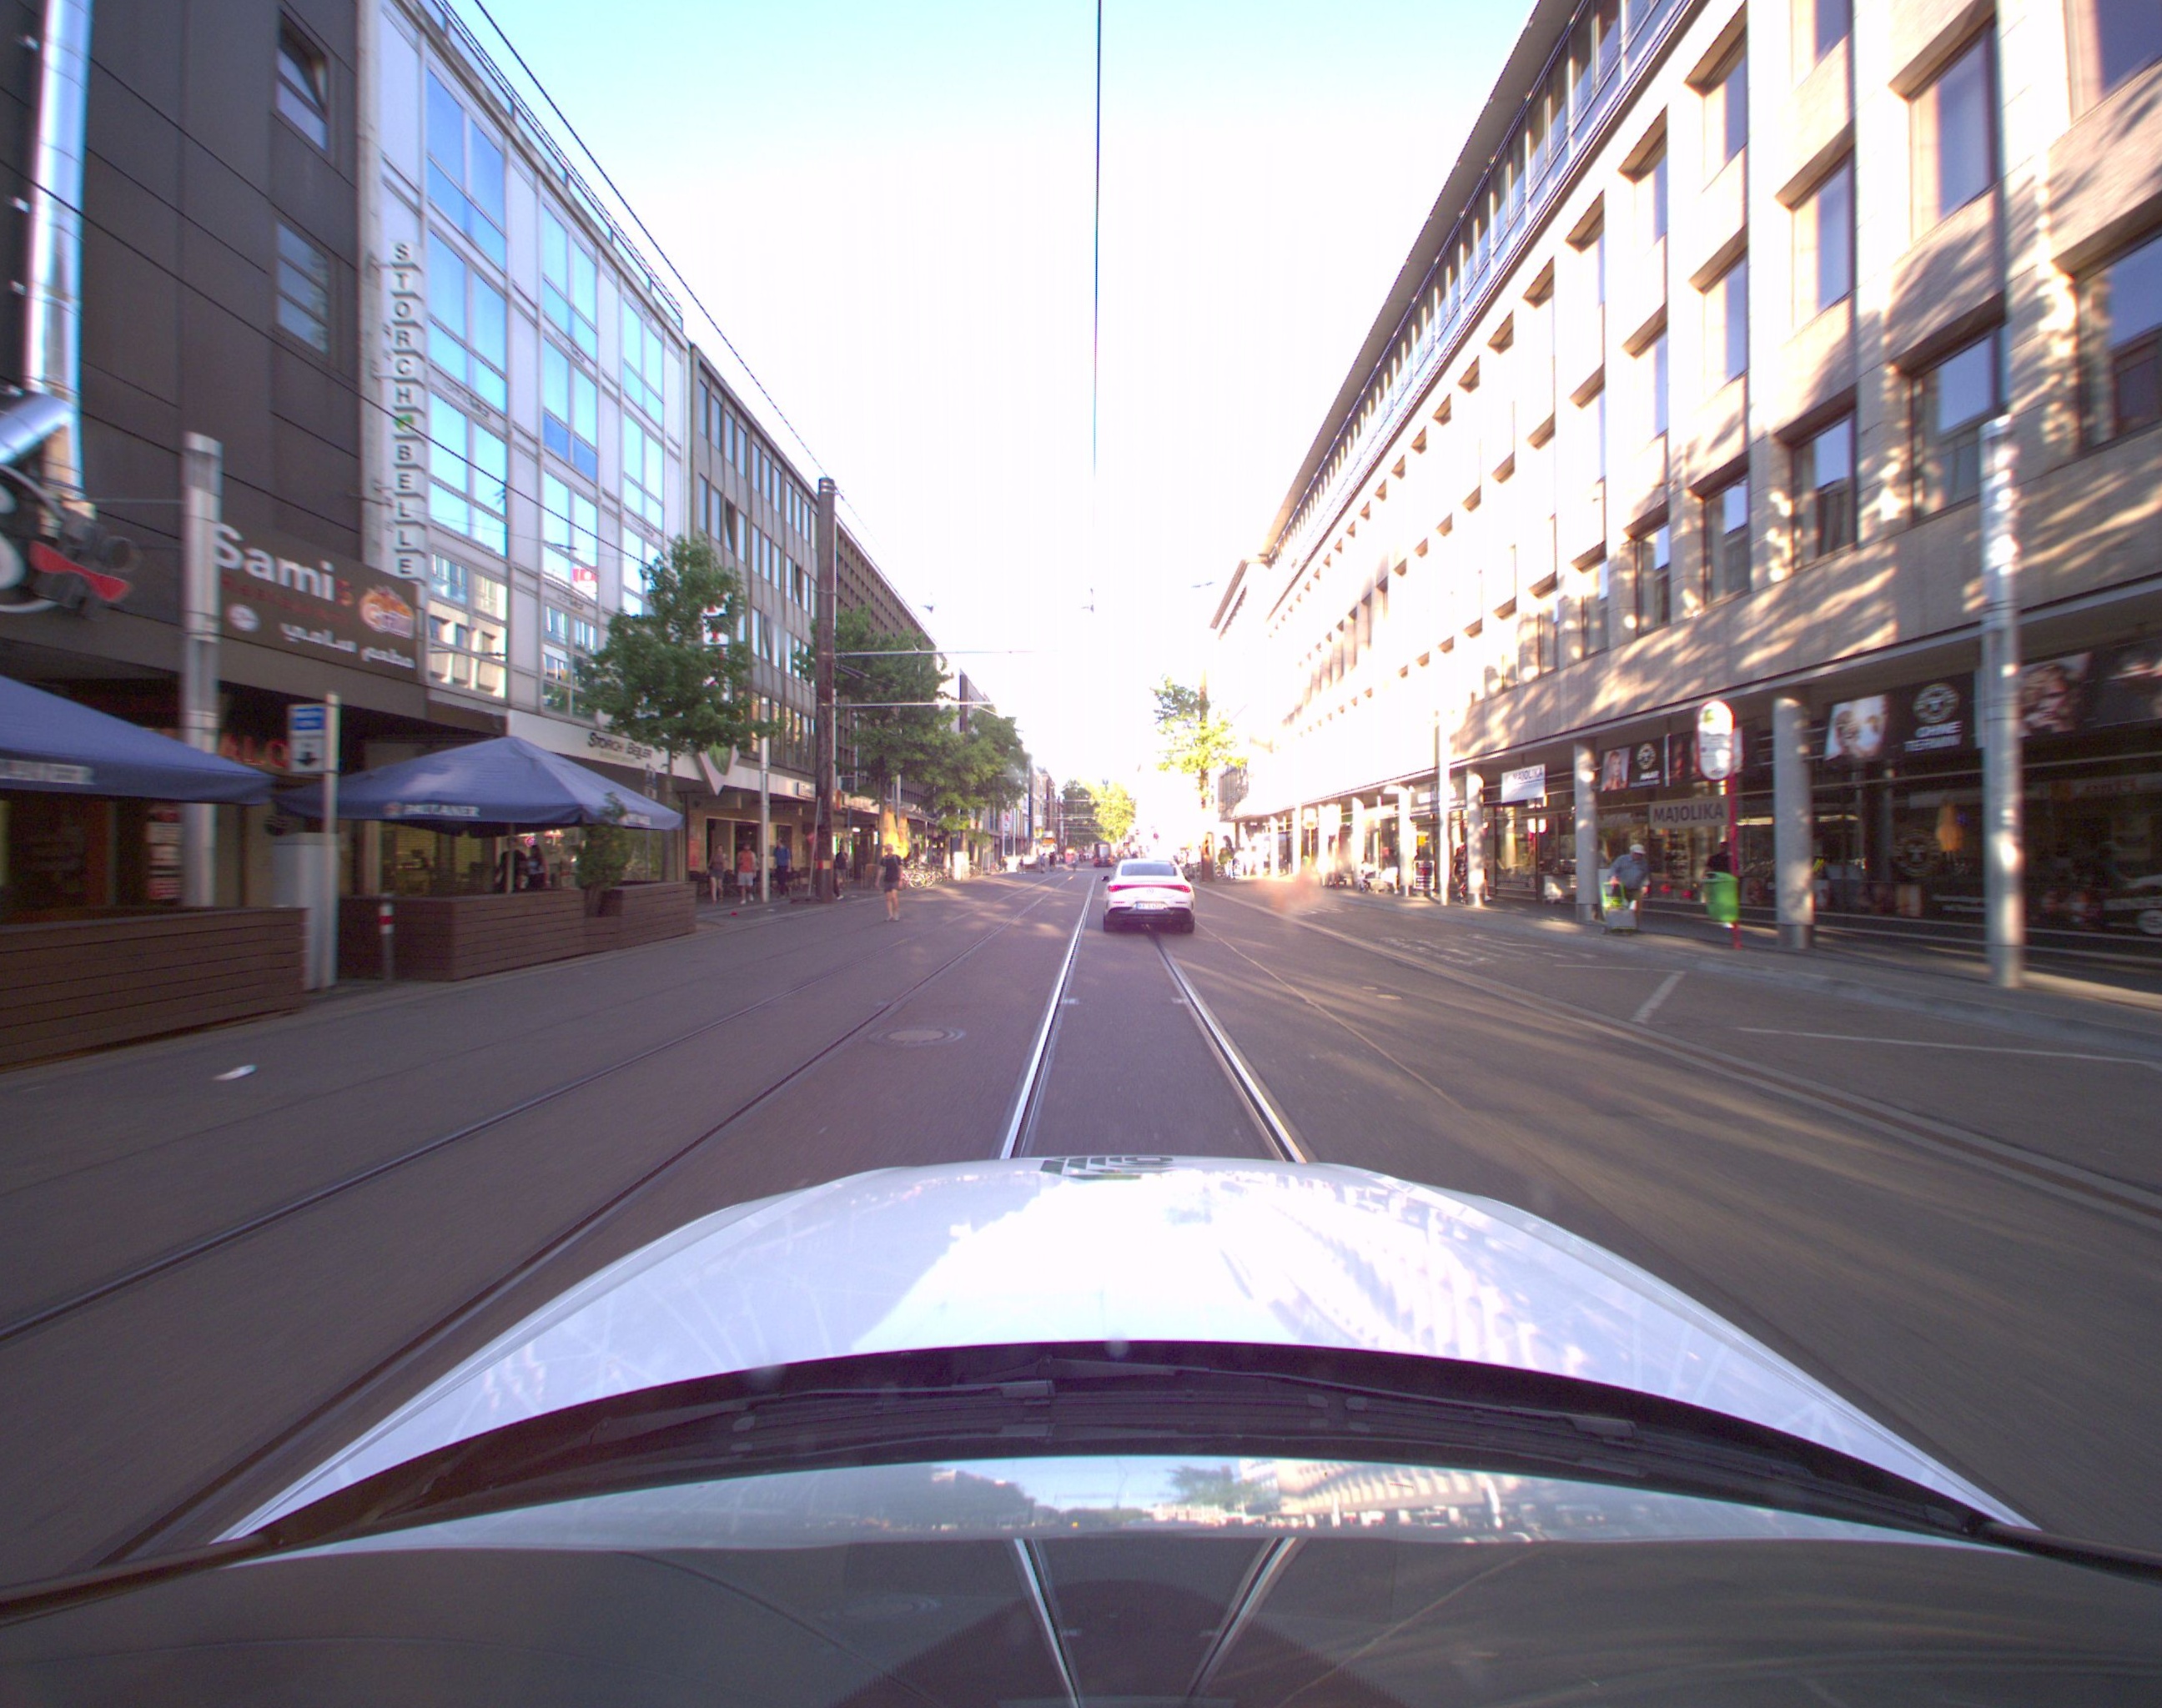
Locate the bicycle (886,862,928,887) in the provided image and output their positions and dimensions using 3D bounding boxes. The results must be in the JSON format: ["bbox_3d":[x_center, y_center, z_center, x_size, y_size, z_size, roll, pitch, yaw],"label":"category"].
[{"bbox_3d":[-7.738,0.892,36.253,1.785,1.077,0.377,1,0,-3],"label":"bicycle"}]

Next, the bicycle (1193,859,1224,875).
[{"bbox_3d":[9.109,0.935,58.247,2.114,1.096,0.608,-1,-1,-10],"label":"bicycle"}]

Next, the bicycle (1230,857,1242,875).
[{"bbox_3d":[10.431,0.790,54.703,0.562,1.127,1.932,-2,0,5],"label":"bicycle"}]

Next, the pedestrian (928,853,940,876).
[{"bbox_3d":[-11.694,0.843,64.993,0.813,1.762,0.779,-1,0,-1],"label":"pedestrian"}]

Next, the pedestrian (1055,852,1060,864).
[{"bbox_3d":[-3.310,0.584,113.295,0.658,1.599,0.573,-1,0,0],"label":"pedestrian"}]

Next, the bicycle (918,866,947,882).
[{"bbox_3d":[-7.937,1.068,43.565,1.486,0.841,0.345,1,0,2],"label":"bicycle"}]

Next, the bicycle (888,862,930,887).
[{"bbox_3d":[-7.756,0.915,36.709,1.785,1.077,0.377,1,0,-3],"label":"bicycle"}]

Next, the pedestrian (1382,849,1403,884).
[{"bbox_3d":[13.597,0.543,35.574,0.640,1.542,0.797,0,0,2],"label":"pedestrian"}]

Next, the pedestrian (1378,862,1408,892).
[{"bbox_3d":[11.169,0.813,29.162,0.832,1.031,0.697,0,0,6],"label":"pedestrian"}]

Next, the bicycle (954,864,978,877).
[{"bbox_3d":[-7.622,1.087,53.896,1.486,0.783,0.345,1,0,2],"label":"bicycle"}]

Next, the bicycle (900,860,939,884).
[{"bbox_3d":[-8.021,0.898,40.466,1.839,1.141,0.377,1,0,2],"label":"bicycle"}]

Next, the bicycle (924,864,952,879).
[{"bbox_3d":[-7.883,0.981,44.898,1.486,0.783,0.345,1,0,2],"label":"bicycle"}]

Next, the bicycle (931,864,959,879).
[{"bbox_3d":[-7.630,0.987,45.587,1.486,0.783,0.345,1,0,2],"label":"bicycle"}]

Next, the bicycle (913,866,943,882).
[{"bbox_3d":[-8.095,1.056,43.166,1.486,0.841,0.345,1,0,2],"label":"bicycle"}]

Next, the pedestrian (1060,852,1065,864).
[{"bbox_3d":[-2.593,0.584,113.362,0.658,1.599,0.573,-1,0,0],"label":"pedestrian"}]

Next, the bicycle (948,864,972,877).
[{"bbox_3d":[-7.801,1.072,52.461,1.486,0.783,0.345,1,0,2],"label":"bicycle"}]

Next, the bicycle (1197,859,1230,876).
[{"bbox_3d":[9.121,0.924,56.047,2.115,1.096,0.607,-1,-1,-12],"label":"bicycle"}]

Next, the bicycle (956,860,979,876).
[{"bbox_3d":[-7.681,0.955,55.226,1.492,1.009,0.343,1,0,-9],"label":"bicycle"}]

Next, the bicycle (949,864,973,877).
[{"bbox_3d":[-7.788,1.078,52.816,1.486,0.783,0.345,1,0,2],"label":"bicycle"}]

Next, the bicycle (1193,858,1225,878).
[{"bbox_3d":[8.323,0.904,52.821,1.908,1.156,0.608,-2,0,-10],"label":"bicycle"}]

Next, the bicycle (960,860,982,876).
[{"bbox_3d":[-7.536,0.952,55.663,1.492,1.029,0.343,1,0,-9],"label":"bicycle"}]

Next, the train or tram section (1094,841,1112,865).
[{"bbox_3d":[3.449,-0.079,126.954,2.684,3.516,12.549,-1,0,2],"label":"train or tram section"}]

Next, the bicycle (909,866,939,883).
[{"bbox_3d":[-8.051,1.045,41.791,1.490,0.876,0.344,1,0,-5],"label":"bicycle"}]

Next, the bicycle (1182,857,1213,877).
[{"bbox_3d":[7.709,0.860,53.751,1.908,1.281,0.608,-2,0,-10],"label":"bicycle"}]

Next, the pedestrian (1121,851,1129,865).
[{"bbox_3d":[5.526,0.513,101.704,0.957,1.785,0.804,-2,0,1],"label":"pedestrian"}]

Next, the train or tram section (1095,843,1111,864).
[{"bbox_3d":[3.775,-0.066,138.795,2.684,3.516,11.146,-1,0,1],"label":"train or tram section"}]

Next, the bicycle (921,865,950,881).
[{"bbox_3d":[-7.908,1.021,44.179,1.486,0.841,0.345,1,0,2],"label":"bicycle"}]

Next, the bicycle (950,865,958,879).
[{"bbox_3d":[-7.258,1.033,46.517,0.343,0.783,1.402,1,0,-6],"label":"bicycle"}]

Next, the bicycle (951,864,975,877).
[{"bbox_3d":[-7.754,1.077,53.535,1.486,0.783,0.345,1,0,2],"label":"bicycle"}]

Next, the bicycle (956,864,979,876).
[{"bbox_3d":[-7.579,1.082,54.265,1.486,0.783,0.345,1,0,2],"label":"bicycle"}]

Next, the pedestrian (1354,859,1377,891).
[{"bbox_3d":[10.721,0.777,30.695,0.663,1.198,0.786,0,0,6],"label":"pedestrian"}]

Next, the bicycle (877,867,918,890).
[{"bbox_3d":[-7.544,1.000,33.430,1.586,0.930,0.378,1,0,8],"label":"bicycle"}]

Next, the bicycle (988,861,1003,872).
[{"bbox_3d":[-8.089,1.148,76.873,0.713,1.010,2.047,-1,0,15],"label":"bicycle"}]

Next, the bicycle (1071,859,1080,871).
[{"bbox_3d":[-0.537,1.038,78.375,0.797,1.142,2.257,1,0,0],"label":"bicycle"}]

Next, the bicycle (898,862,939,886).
[{"bbox_3d":[-7.569,0.928,37.941,1.842,1.077,0.377,1,0,-3],"label":"bicycle"}]

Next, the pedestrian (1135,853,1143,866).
[{"bbox_3d":[7.910,0.722,110.869,0.957,1.785,0.804,-2,0,1],"label":"pedestrian"}]

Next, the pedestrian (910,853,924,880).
[{"bbox_3d":[-10.017,0.752,49.709,0.713,1.639,0.683,-1,0,-5],"label":"pedestrian"}]

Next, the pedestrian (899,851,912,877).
[{"bbox_3d":[-10.697,0.616,49.647,0.713,1.547,0.683,-1,0,-5],"label":"pedestrian"}]

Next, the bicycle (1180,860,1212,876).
[{"bbox_3d":[8.030,0.974,56.731,2.114,1.096,0.608,0,-1,-10],"label":"bicycle"}]

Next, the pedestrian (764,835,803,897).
[{"bbox_3d":[-9.541,0.383,26.114,0.798,1.923,1.070,2,0,-2],"label":"pedestrian"}]

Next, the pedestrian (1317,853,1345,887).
[{"bbox_3d":[10.441,0.659,34.057,0.836,1.377,0.772,0,0,-21],"label":"pedestrian"}]

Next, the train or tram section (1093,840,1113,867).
[{"bbox_3d":[3.097,-0.087,114.402,2.684,3.516,12.549,-1,0,2],"label":"train or tram section"}]
